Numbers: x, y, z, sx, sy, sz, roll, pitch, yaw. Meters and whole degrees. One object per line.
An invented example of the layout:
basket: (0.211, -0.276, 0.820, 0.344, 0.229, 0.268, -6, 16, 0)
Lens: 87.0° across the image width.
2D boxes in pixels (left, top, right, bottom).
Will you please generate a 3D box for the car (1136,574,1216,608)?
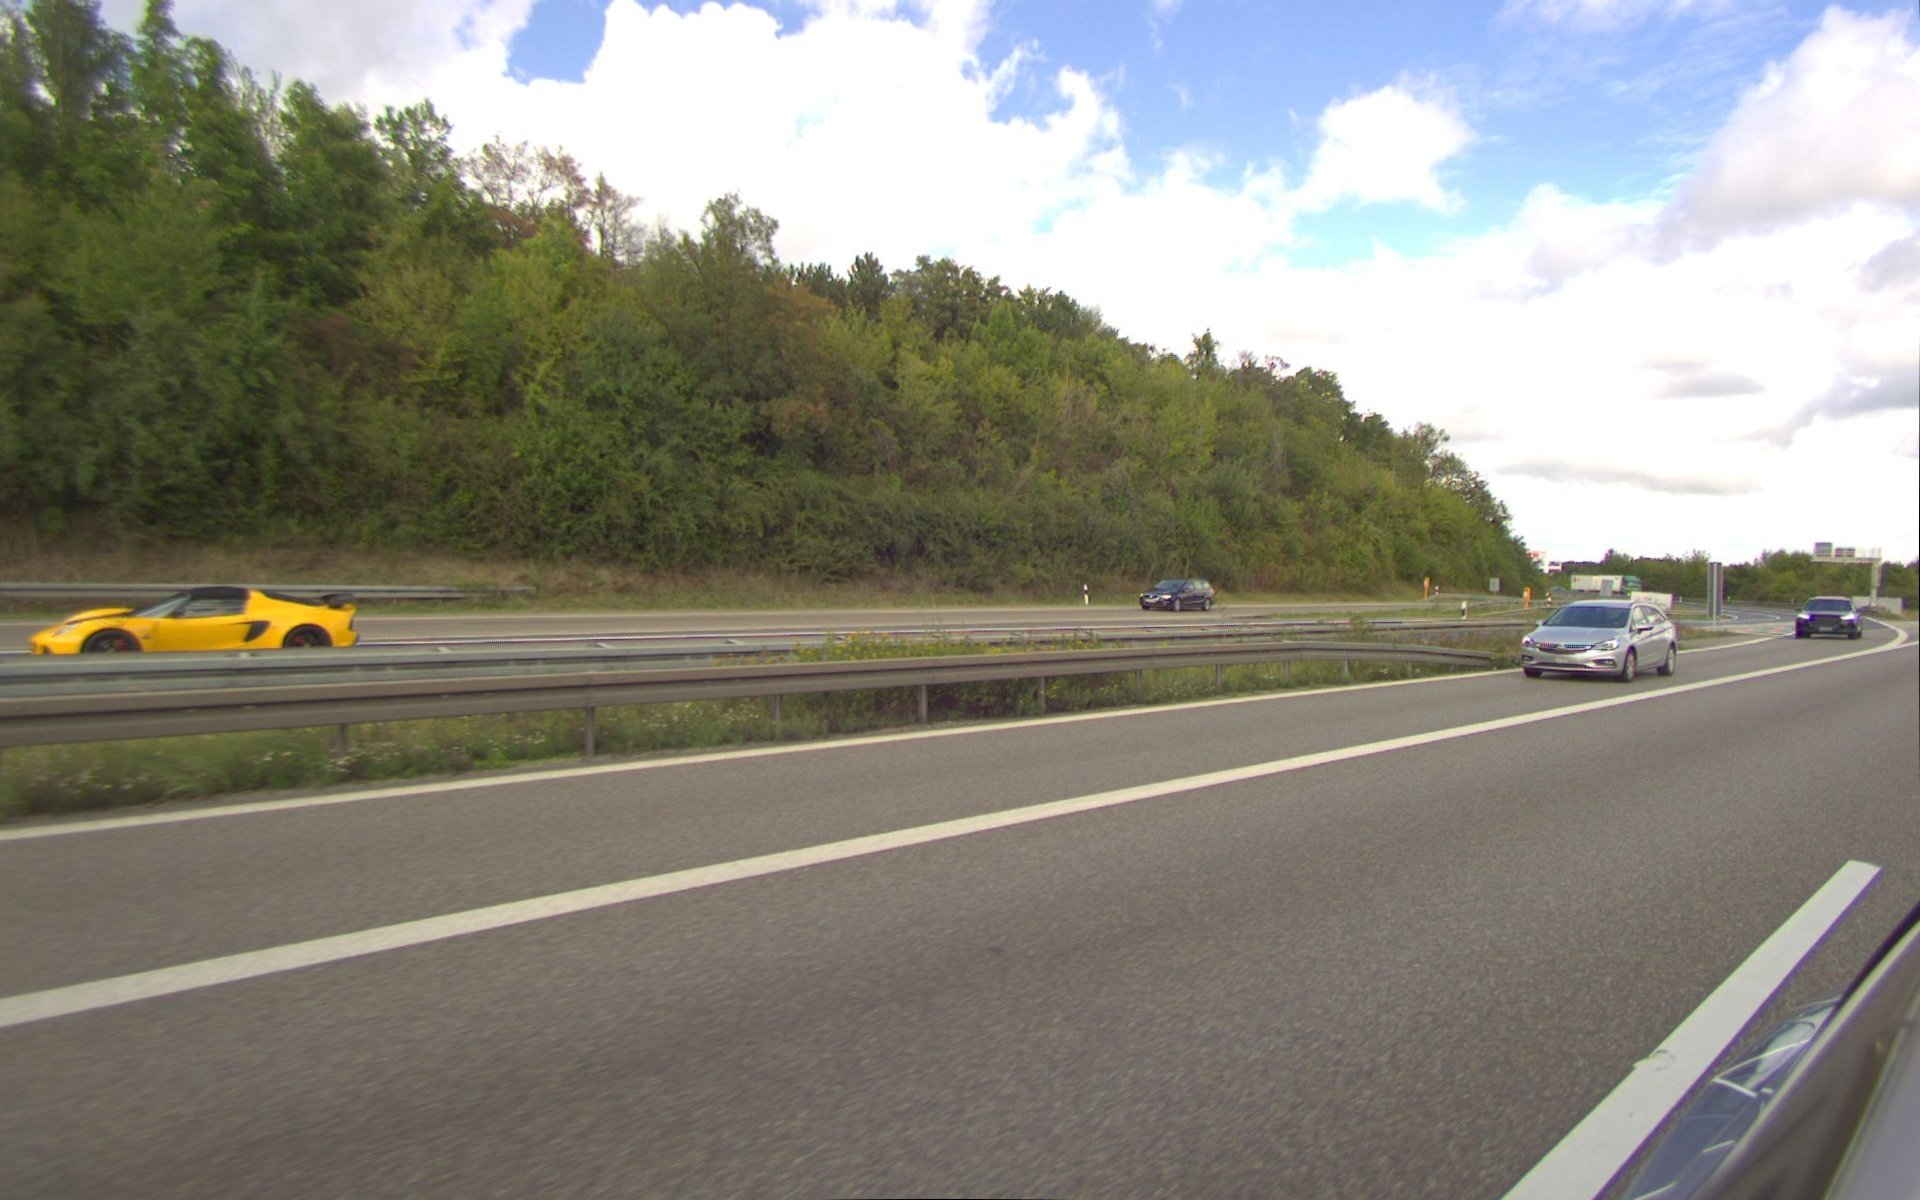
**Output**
car: (9.844, -0.404, 45.922, 1.711, 1.433, 4.106, 2, 1, 42)

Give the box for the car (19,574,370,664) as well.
car: (-11.538, 0.239, 15.476, 4.096, 1.196, 1.714, 0, 1, -42)

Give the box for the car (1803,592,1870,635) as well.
car: (36.677, 0.527, 42.311, 1.872, 1.656, 4.782, 1, 1, 44)

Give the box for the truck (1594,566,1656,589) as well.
truck: (117.208, -3.941, 178.642, 2.917, 3.845, 13.445, 1, 1, 5)

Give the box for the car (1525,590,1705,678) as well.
car: (12.795, 0.580, 19.656, 4.534, 1.504, 1.687, 0, 1, -40)
